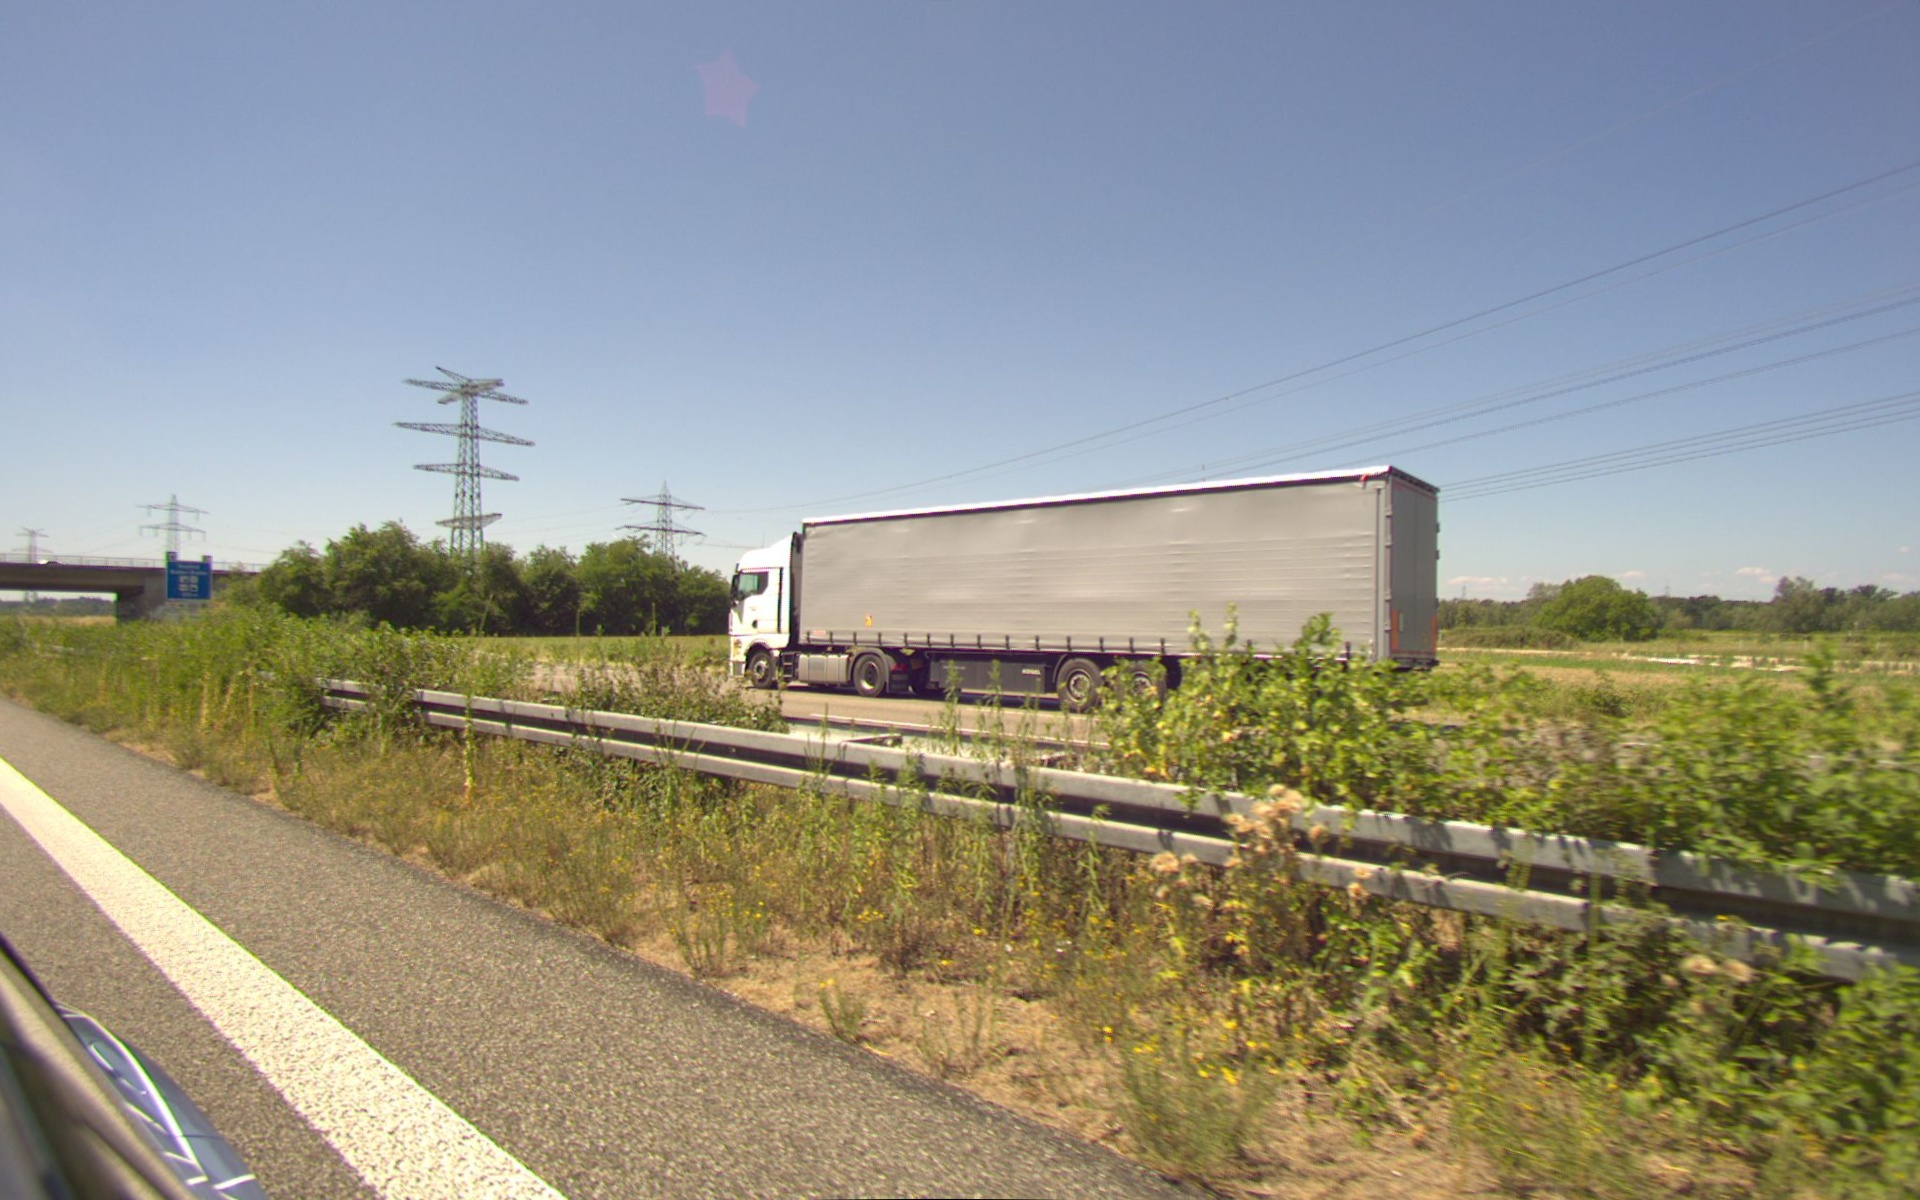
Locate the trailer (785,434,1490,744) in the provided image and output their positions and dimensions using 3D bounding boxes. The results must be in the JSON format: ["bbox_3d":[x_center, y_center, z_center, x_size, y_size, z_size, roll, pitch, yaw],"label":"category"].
[{"bbox_3d":[2.434,0.013,20.448,14.311,4.442,3.333,-1,-4,41],"label":"trailer"}]

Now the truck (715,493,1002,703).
[{"bbox_3d":[-2.597,0.068,24.801,6.552,4.442,3.333,-1,-3,41],"label":"truck"}]
